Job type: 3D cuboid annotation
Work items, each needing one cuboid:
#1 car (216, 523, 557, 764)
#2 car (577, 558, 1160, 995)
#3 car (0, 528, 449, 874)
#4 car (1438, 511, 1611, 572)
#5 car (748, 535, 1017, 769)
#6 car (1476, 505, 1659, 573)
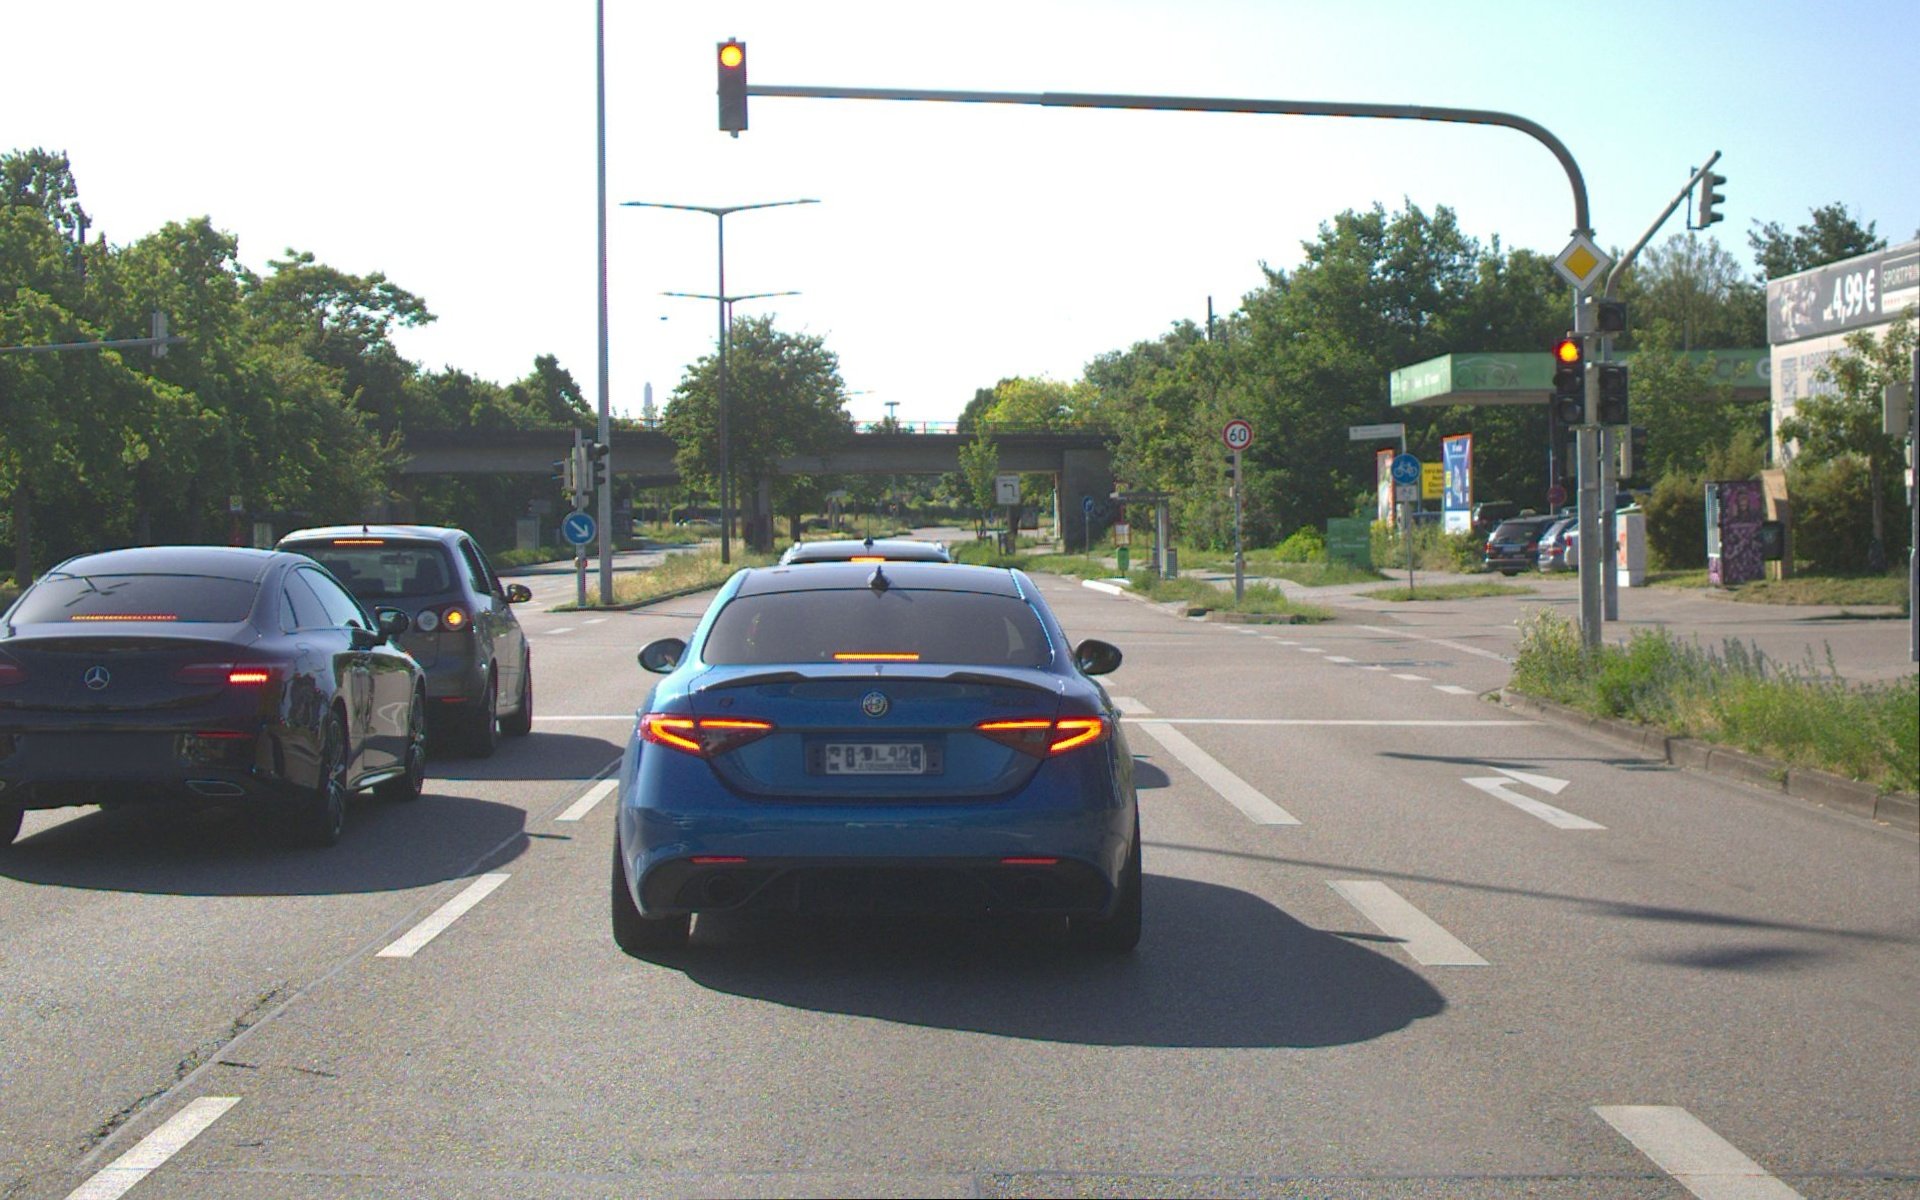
[{"bbox_3d":[-3.972,0.262,24.451,1.812,1.546,4.354,1,0,-2],"label":"car"},{"bbox_3d":[-0.264,0.564,13.200,1.910,1.418,3.719,1,0,1],"label":"car"},{"bbox_3d":[-3.833,0.411,17.692,1.812,1.546,4.544,0,1,-1],"label":"car"},{"bbox_3d":[14.805,-1.525,90.189,3.986,1.547,2.001,1,0,-17],"label":"car"},{"bbox_3d":[-0.473,0.317,24.104,1.704,1.492,3.719,1,0,1],"label":"car"},{"bbox_3d":[14.399,-1.437,81.670,3.987,1.547,2.000,1,0,1],"label":"car"}]
